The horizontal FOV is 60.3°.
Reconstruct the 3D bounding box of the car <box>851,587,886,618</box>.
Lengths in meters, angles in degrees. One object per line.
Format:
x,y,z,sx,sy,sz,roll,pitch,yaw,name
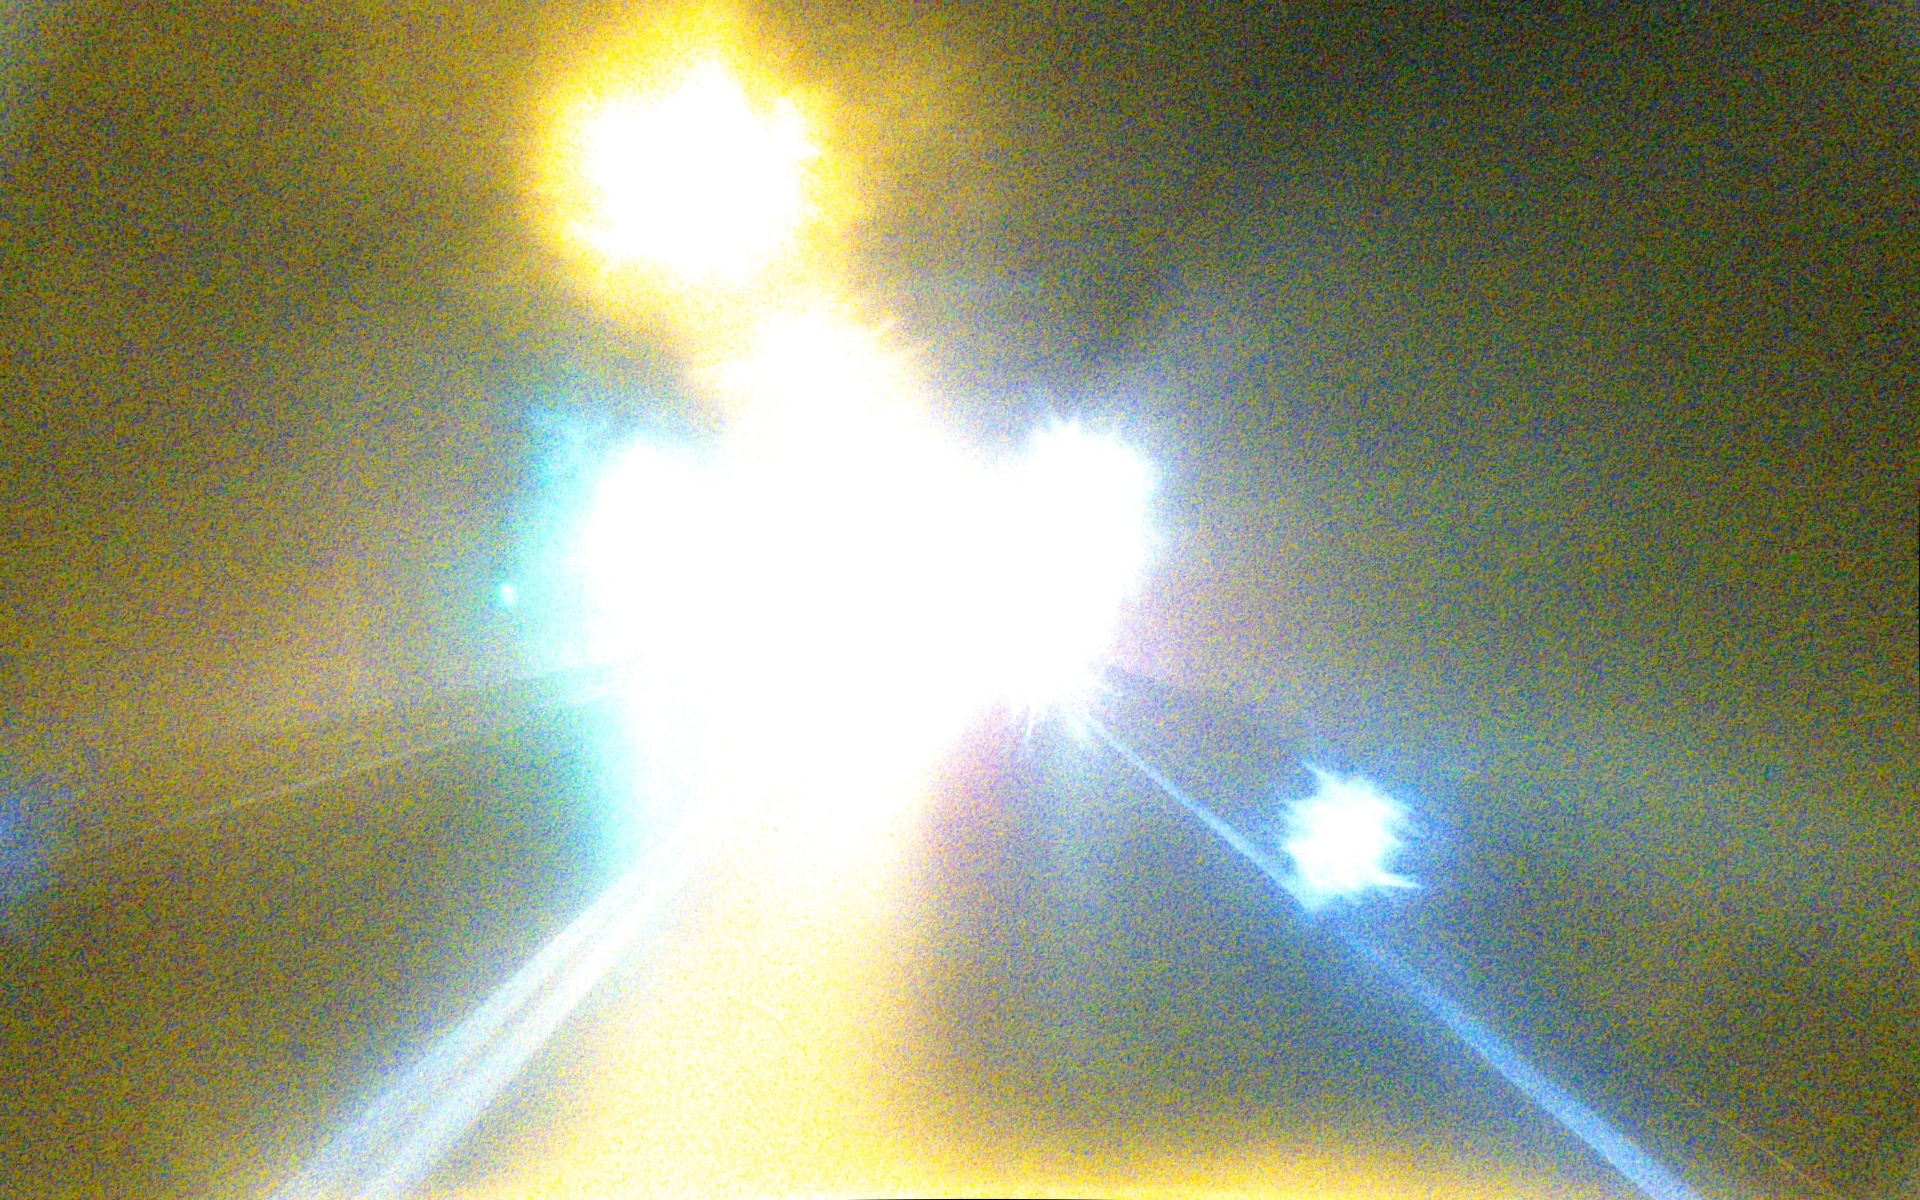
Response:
-4.571,0.109,83.380,1.657,1.531,3.743,-1,0,-2,car

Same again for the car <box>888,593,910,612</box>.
-4.870,0.180,131.721,1.676,1.488,3.574,-1,0,-1,car

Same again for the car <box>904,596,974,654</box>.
-0.667,0.738,50.448,2.047,1.691,3.999,-1,0,-2,car
